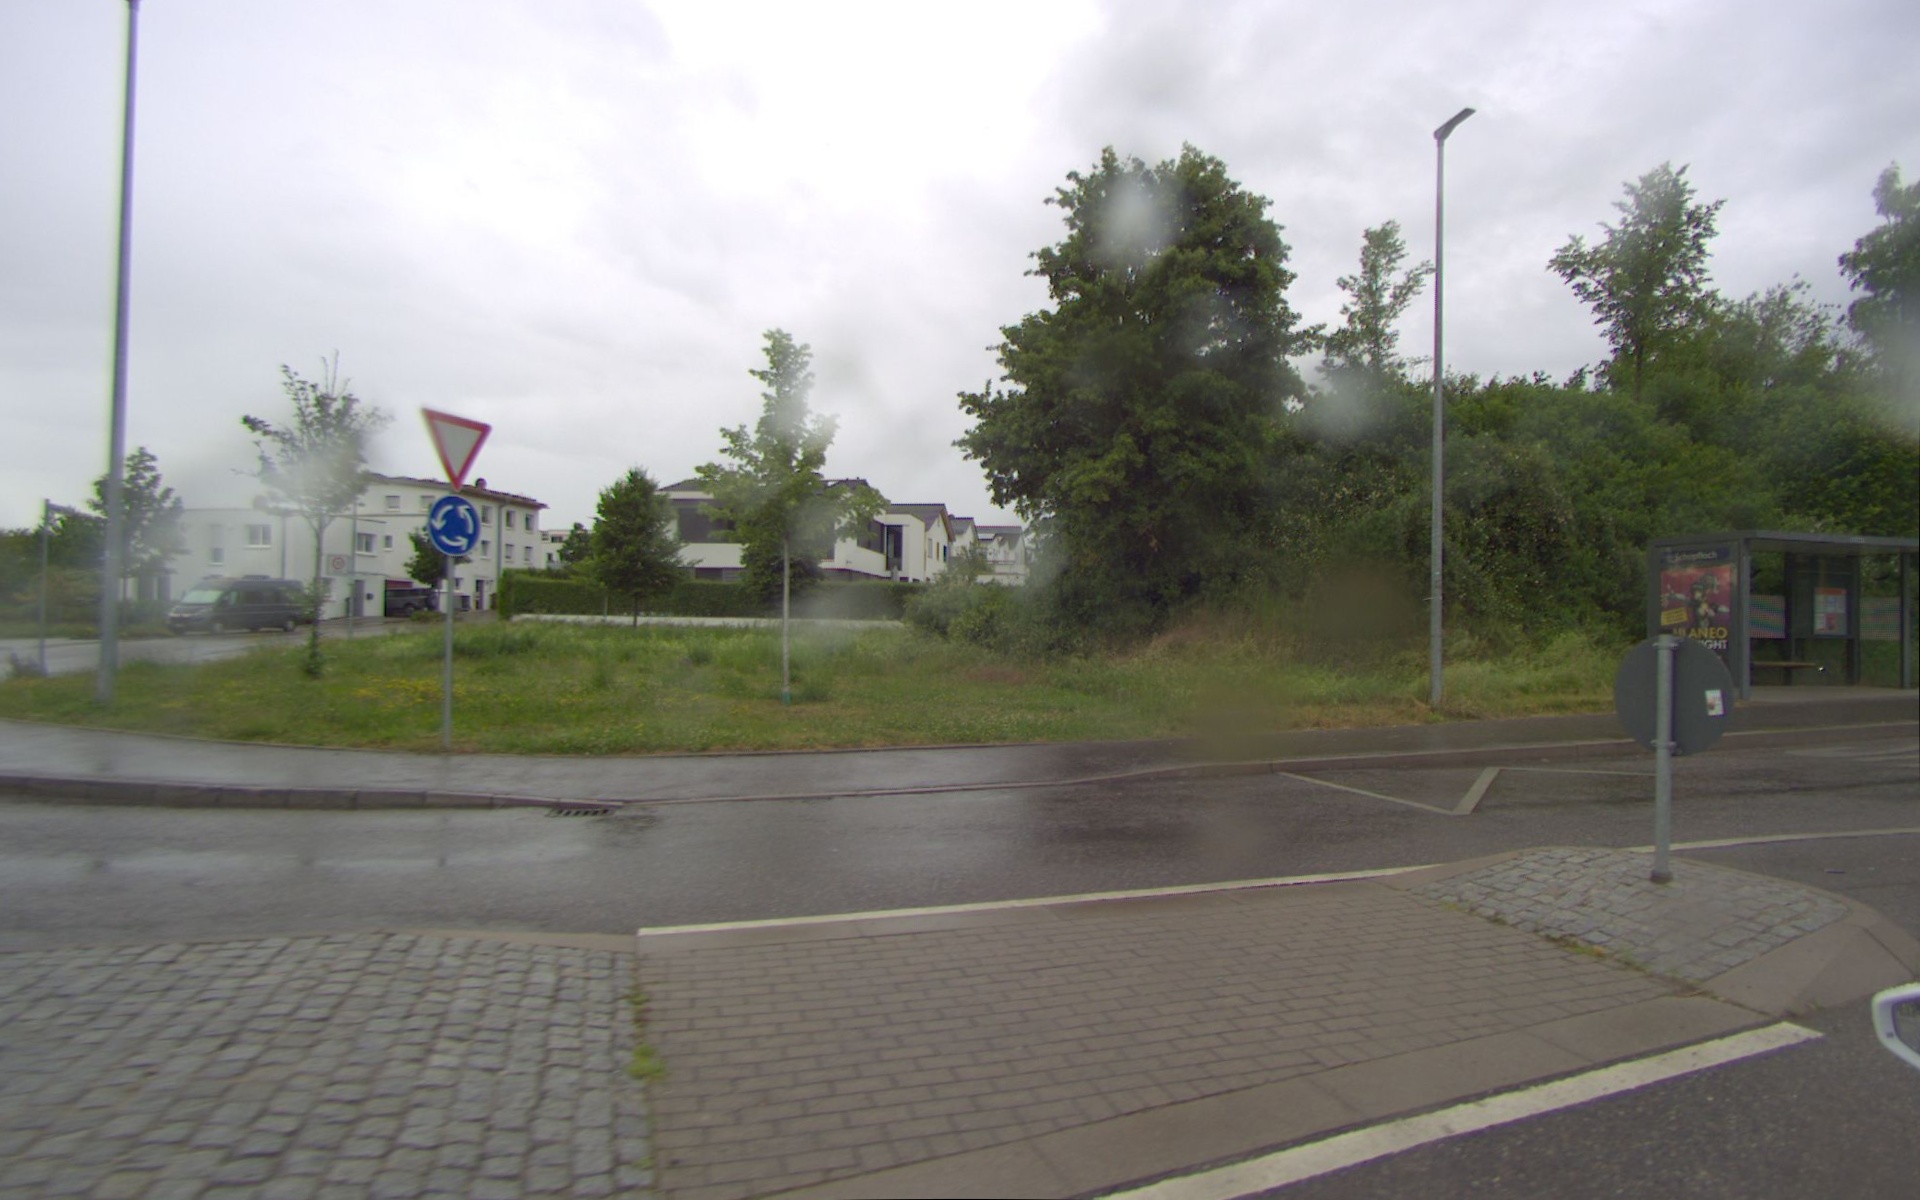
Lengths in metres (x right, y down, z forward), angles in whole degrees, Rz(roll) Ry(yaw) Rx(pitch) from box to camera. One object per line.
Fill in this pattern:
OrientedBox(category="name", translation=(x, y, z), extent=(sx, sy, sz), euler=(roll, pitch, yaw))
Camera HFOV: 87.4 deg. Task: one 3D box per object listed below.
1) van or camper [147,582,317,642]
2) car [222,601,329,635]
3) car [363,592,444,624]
OrientedBox(category="van or camper", translation=(-32.859, 0.535, 45.673), extent=(2.480, 2.527, 6.212), euler=(1, -1, 10))
OrientedBox(category="car", translation=(-37.057, 0.975, 54.466), extent=(4.576, 1.771, 2.023), euler=(0, -1, 7))
OrientedBox(category="car", translation=(-35.340, 0.519, 63.854), extent=(4.129, 1.865, 1.791), euler=(1, -2, 1))
